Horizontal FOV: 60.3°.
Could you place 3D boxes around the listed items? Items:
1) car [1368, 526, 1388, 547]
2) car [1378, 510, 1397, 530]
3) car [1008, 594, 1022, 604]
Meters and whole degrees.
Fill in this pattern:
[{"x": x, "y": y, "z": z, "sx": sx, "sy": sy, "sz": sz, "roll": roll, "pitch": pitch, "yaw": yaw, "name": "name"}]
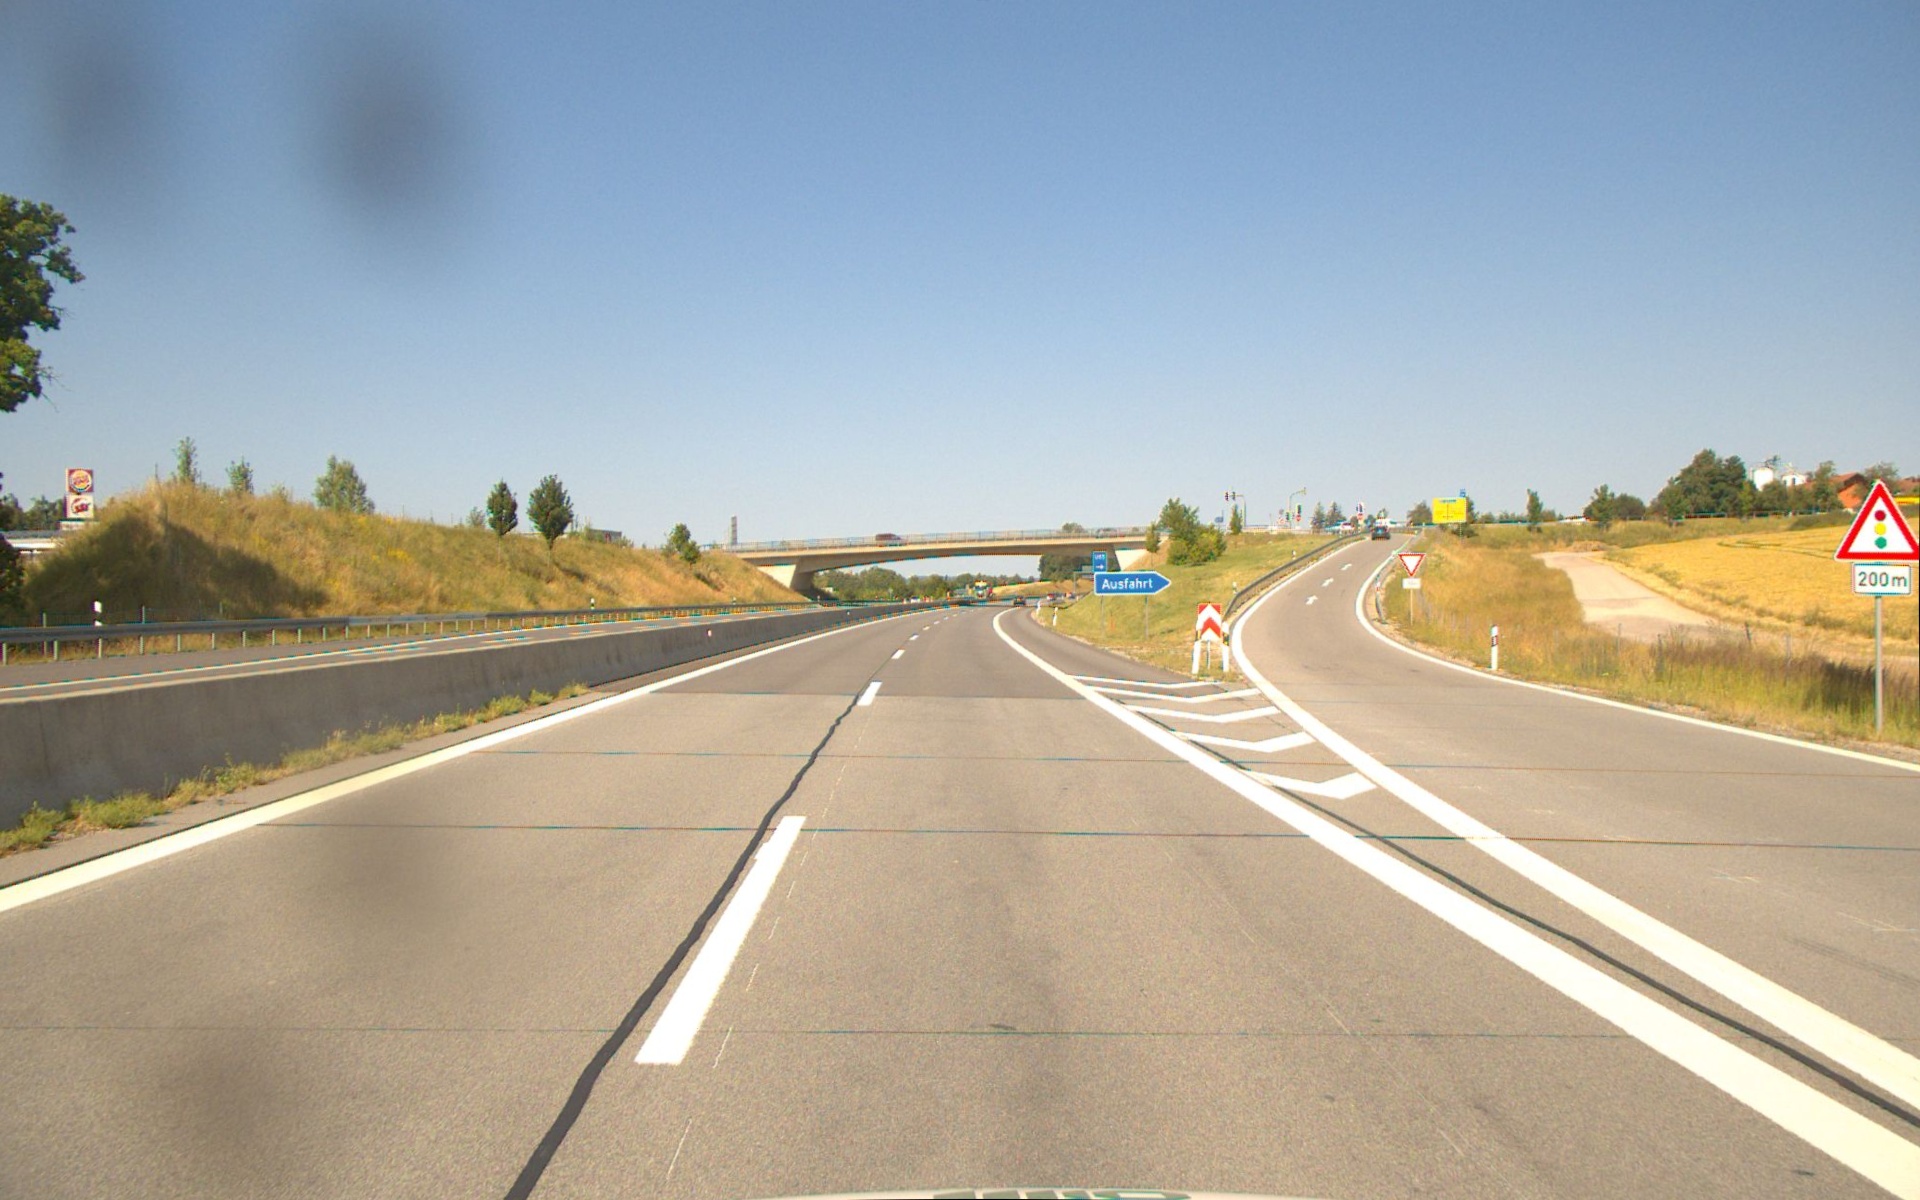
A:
[{"x": 44.648, "y": -6.788, "z": 176.768, "sx": 1.951, "sy": 2.049, "sz": 4.003, "roll": -2, "pitch": 0, "yaw": 15, "name": "car"}, {"x": 47.545, "y": -8.914, "z": 183.947, "sx": 1.951, "sy": 2.049, "sz": 4.003, "roll": -1, "pitch": 0, "yaw": 15, "name": "car"}, {"x": 8.306, "y": -0.092, "z": 249.626, "sx": 1.953, "sy": 1.445, "sz": 4.000, "roll": -2, "pitch": 0, "yaw": 0, "name": "car"}]
